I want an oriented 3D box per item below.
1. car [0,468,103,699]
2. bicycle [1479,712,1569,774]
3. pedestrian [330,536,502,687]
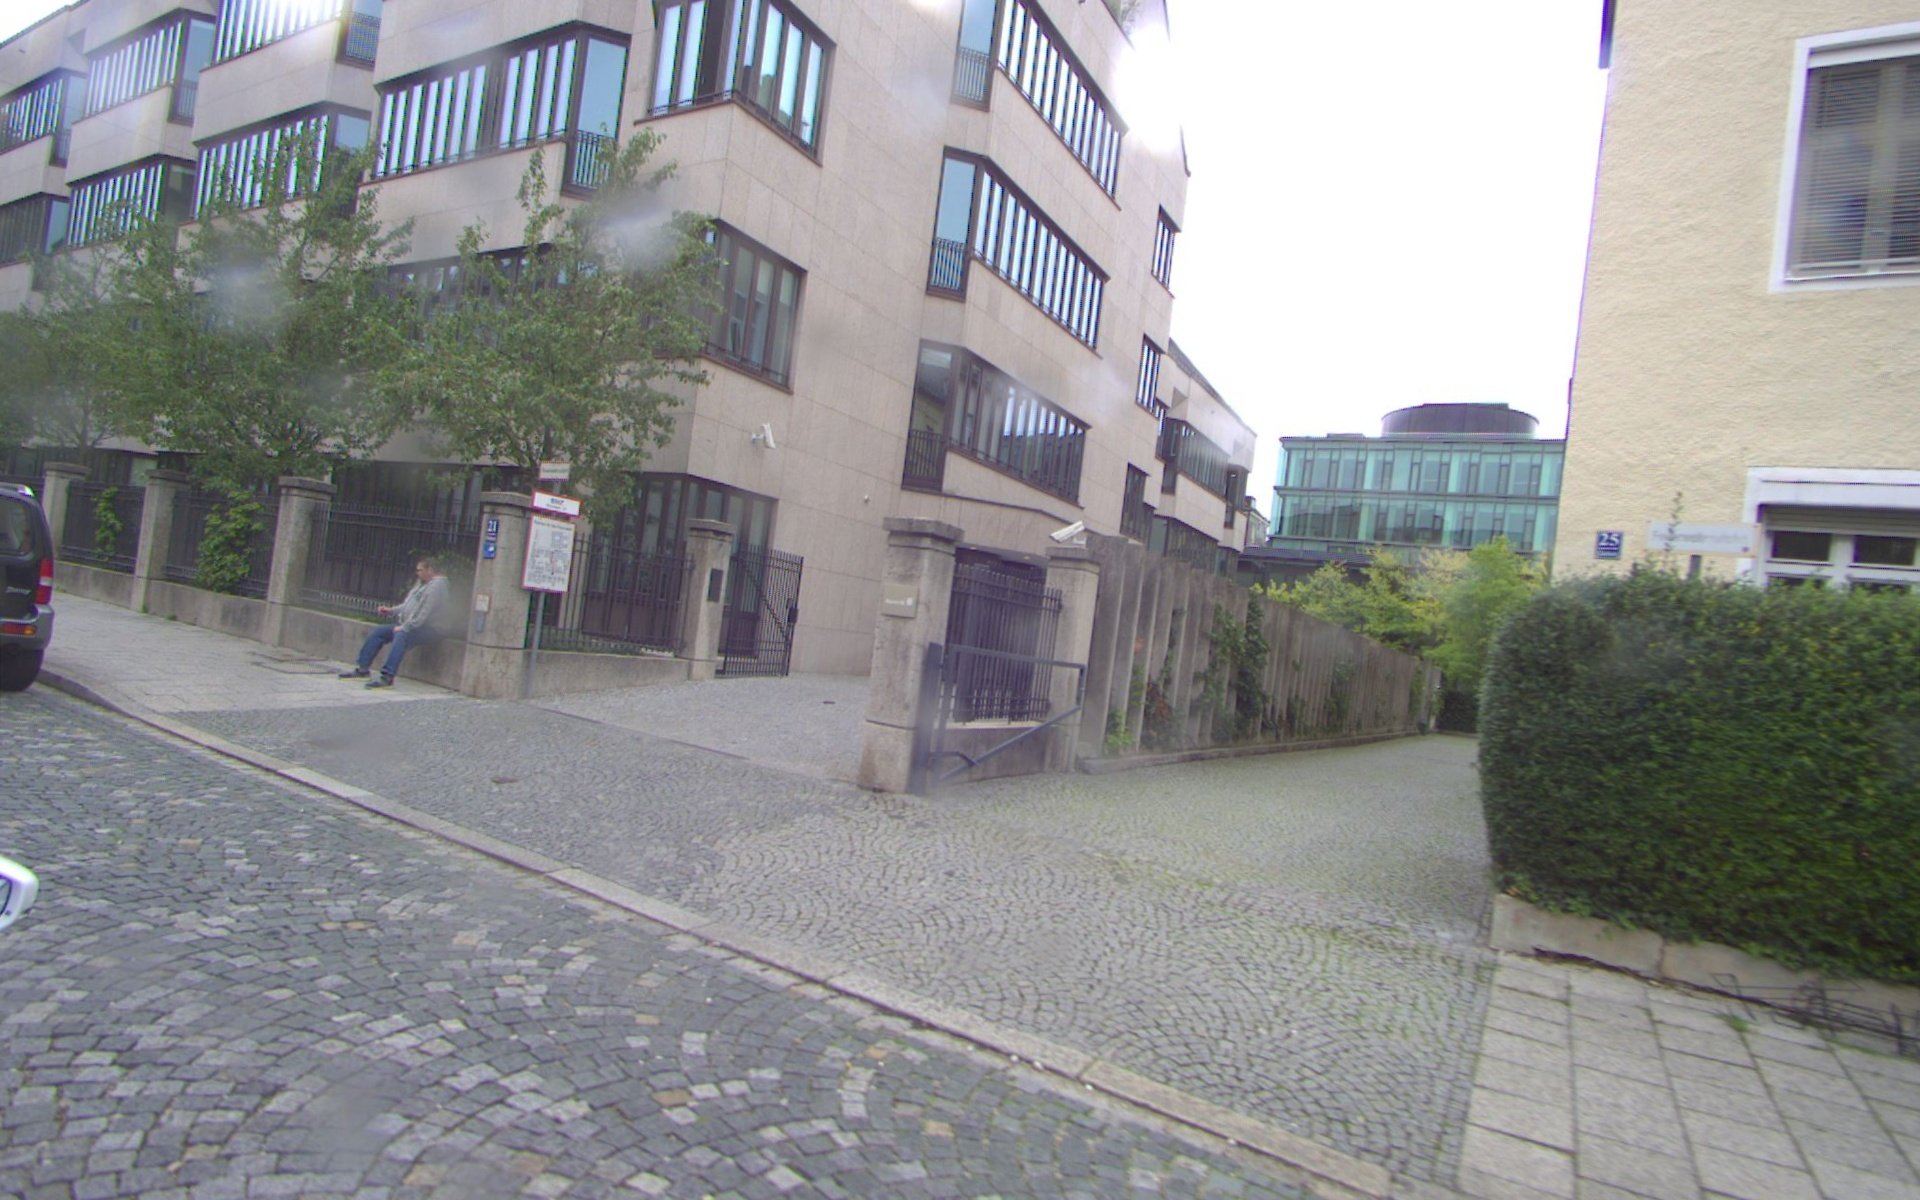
[{"bbox_3d":[-9.312,-0.369,8.609,3.821,1.769,1.624,7,-4,30],"label":"car"},{"bbox_3d":[14.425,3.641,25.740,1.821,1.242,0.792,7,-1,36],"label":"bicycle"},{"bbox_3d":[-6.075,0.140,11.266,1.111,1.512,1.217,7,1,33],"label":"pedestrian"}]
